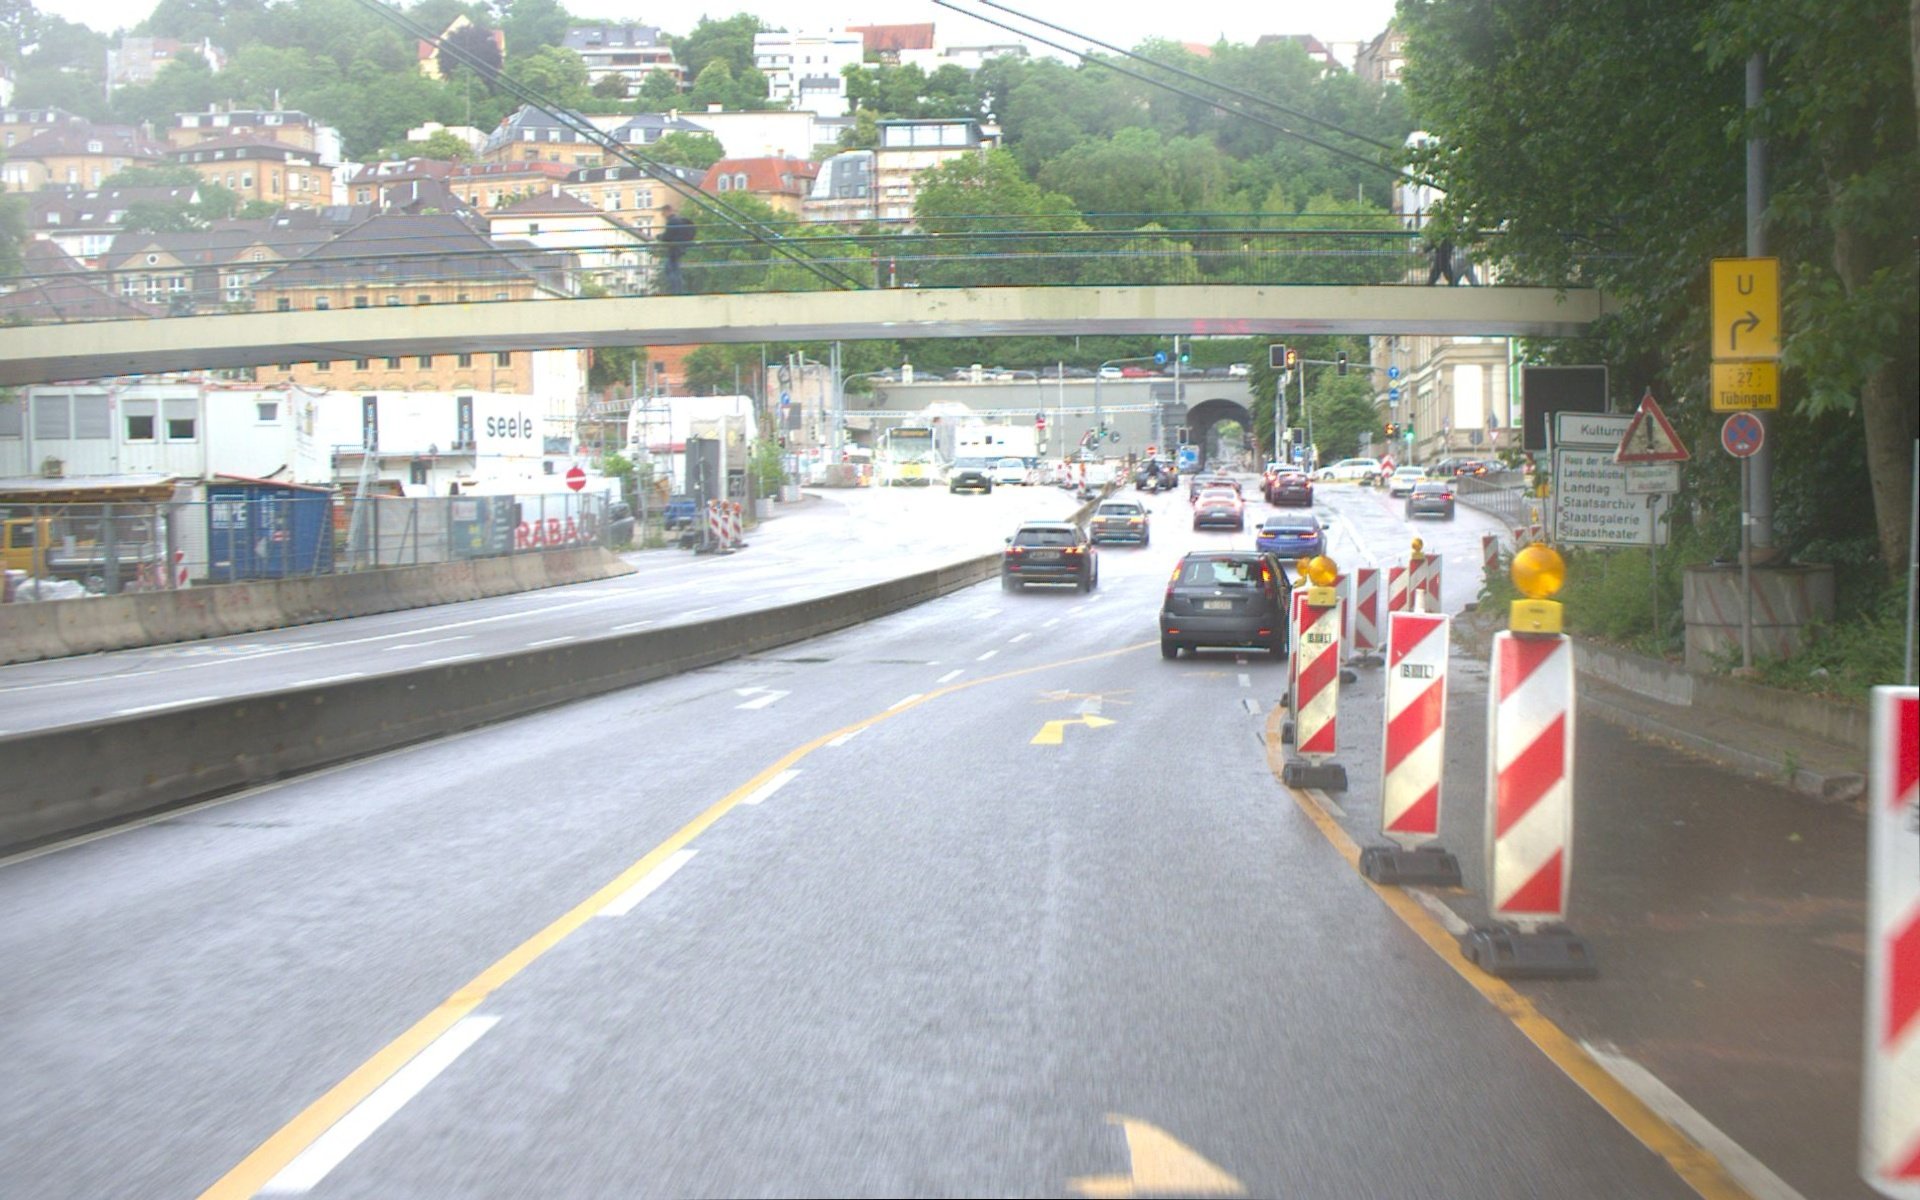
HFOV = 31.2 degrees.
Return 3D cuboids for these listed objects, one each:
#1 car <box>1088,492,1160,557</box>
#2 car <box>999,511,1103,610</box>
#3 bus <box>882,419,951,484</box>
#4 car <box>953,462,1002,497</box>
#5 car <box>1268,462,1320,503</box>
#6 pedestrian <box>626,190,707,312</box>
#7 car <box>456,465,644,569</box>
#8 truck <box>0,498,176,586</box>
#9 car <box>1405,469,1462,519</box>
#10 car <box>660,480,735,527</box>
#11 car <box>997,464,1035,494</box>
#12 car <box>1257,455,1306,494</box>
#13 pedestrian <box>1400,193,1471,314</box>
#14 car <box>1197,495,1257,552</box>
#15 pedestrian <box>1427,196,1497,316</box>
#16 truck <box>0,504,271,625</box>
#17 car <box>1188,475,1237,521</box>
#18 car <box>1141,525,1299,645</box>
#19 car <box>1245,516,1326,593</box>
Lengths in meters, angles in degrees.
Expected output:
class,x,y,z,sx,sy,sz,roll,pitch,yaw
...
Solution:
class,x,y,z,sx,sy,sz,roll,pitch,yaw
car,5.297,-2.422,110.474,1.994,2.007,3.999,-1,1,7
car,1.993,-0.854,73.936,2.017,2.007,4.000,-1,1,4
bus,-2.249,-7.708,179.353,2.806,3.173,8.807,-1,2,4
car,0.843,-5.804,165.078,2.082,1.625,4.853,-1,2,3
car,14.824,-5.199,152.681,1.993,1.693,4.000,-1,1,2
pedestrian,-5.272,-6.258,61.762,1.148,2.053,1.059,-1,1,12
car,-11.733,-2.394,98.900,1.997,2.865,6.042,-1,1,31
truck,-21.798,-1.389,82.885,5.247,2.007,2.164,-1,1,0
car,19.032,-4.268,138.291,1.994,2.006,4.000,0,2,4
car,-9.813,-3.641,128.779,1.994,1.616,3.999,-1,3,8
car,2.968,-6.427,182.287,1.709,1.484,3.450,-1,1,5
car,14.834,-5.783,158.847,1.993,1.693,4.000,-1,1,2
pedestrian,8.559,-6.222,61.860,1.148,2.053,1.059,-1,1,12
car,9.719,-2.763,125.369,2.051,2.007,4.000,-1,1,3
pedestrian,9.166,-6.265,62.787,1.148,2.053,1.059,-1,1,12
truck,-18.364,-0.765,74.636,6.276,2.444,2.694,-1,1,-3
car,10.991,-4.440,149.859,1.994,1.863,4.000,-1,1,3
car,3.580,-0.228,46.864,1.813,1.521,3.999,-2,1,9
car,9.044,-1.271,95.857,2.105,2.043,4.000,-1,1,4
